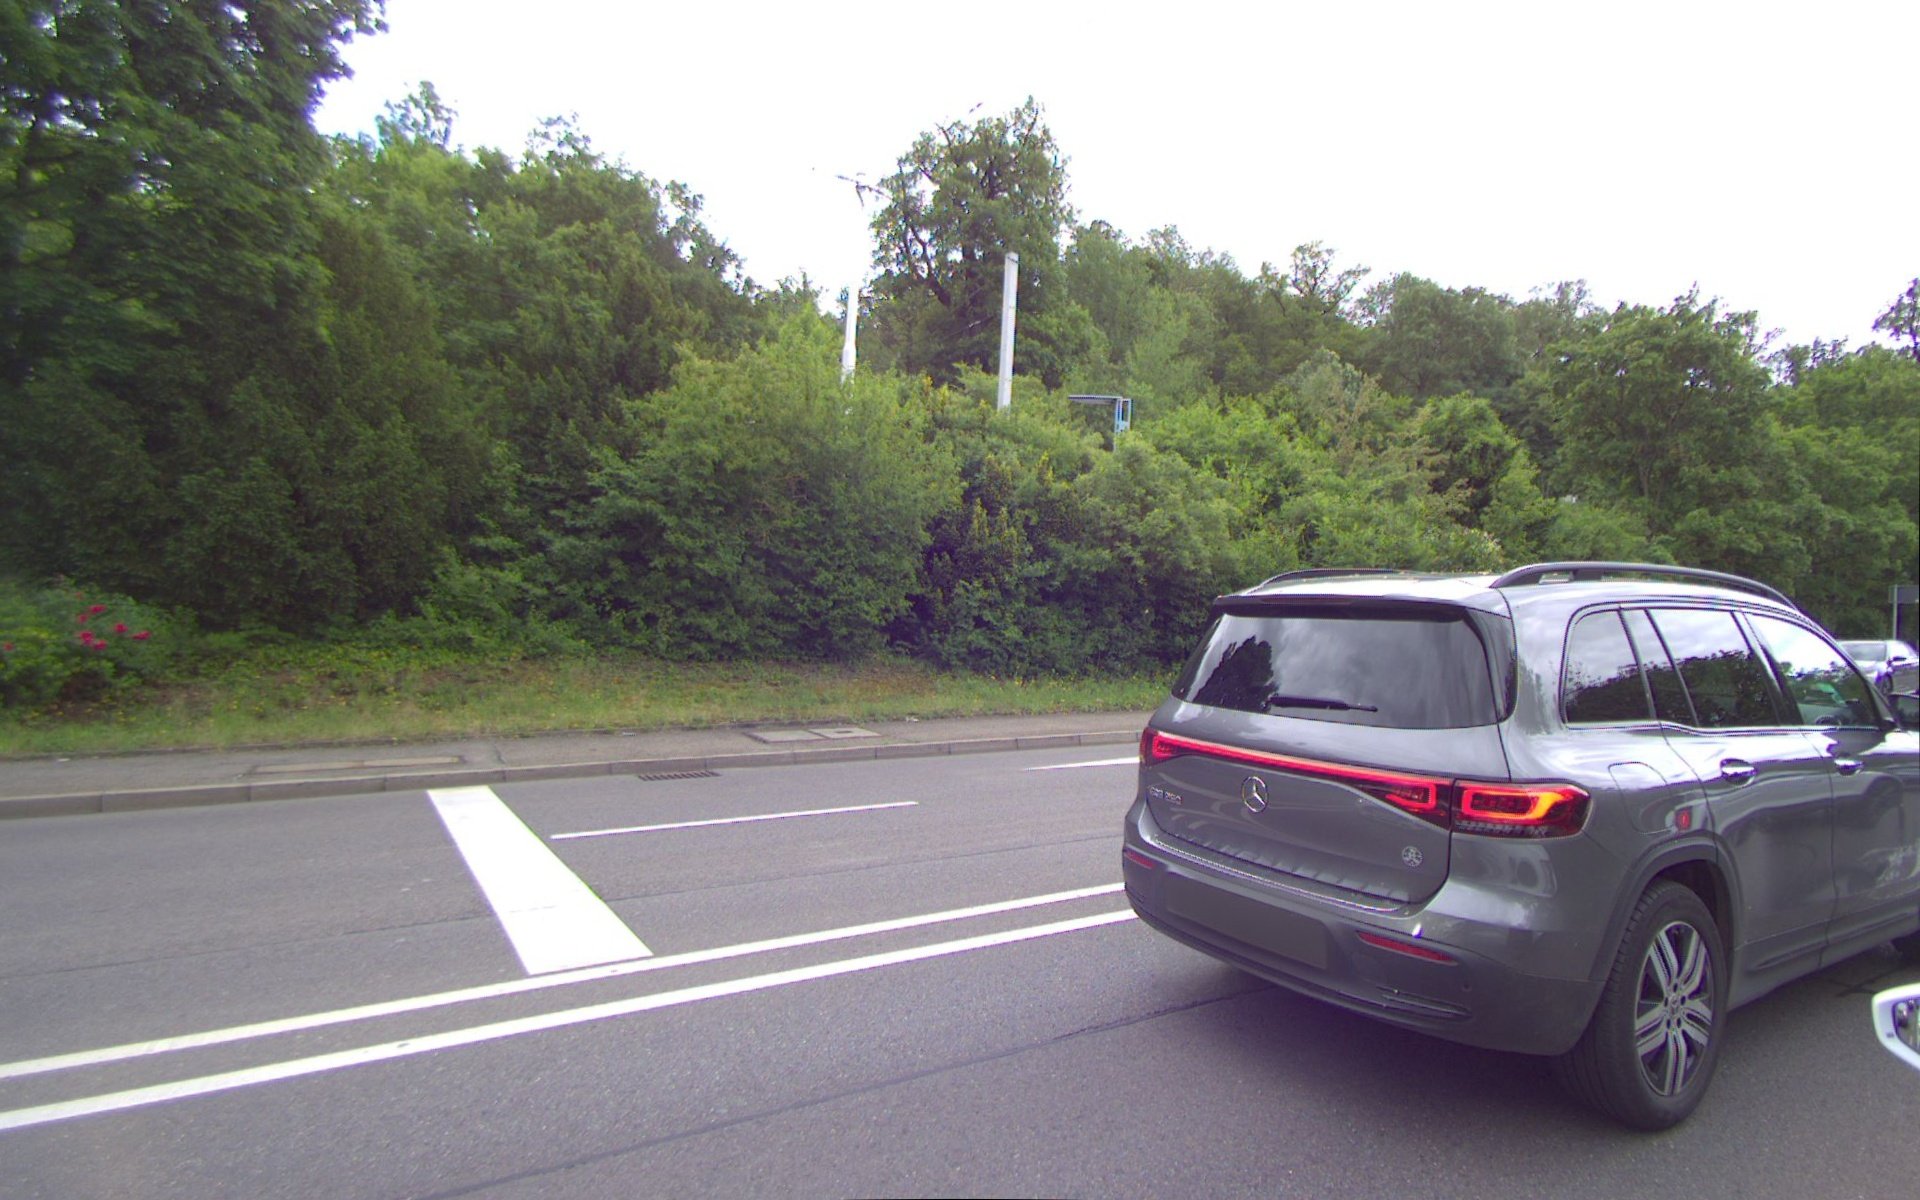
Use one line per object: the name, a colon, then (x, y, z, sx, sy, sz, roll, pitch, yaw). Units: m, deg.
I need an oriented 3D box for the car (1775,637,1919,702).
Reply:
car: (21.338, 1.608, 23.875, 4.310, 1.413, 1.671, 2, -2, -31)

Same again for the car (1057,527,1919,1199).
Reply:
car: (2.688, 0.719, 4.268, 4.309, 1.673, 1.839, 2, -1, -32)
